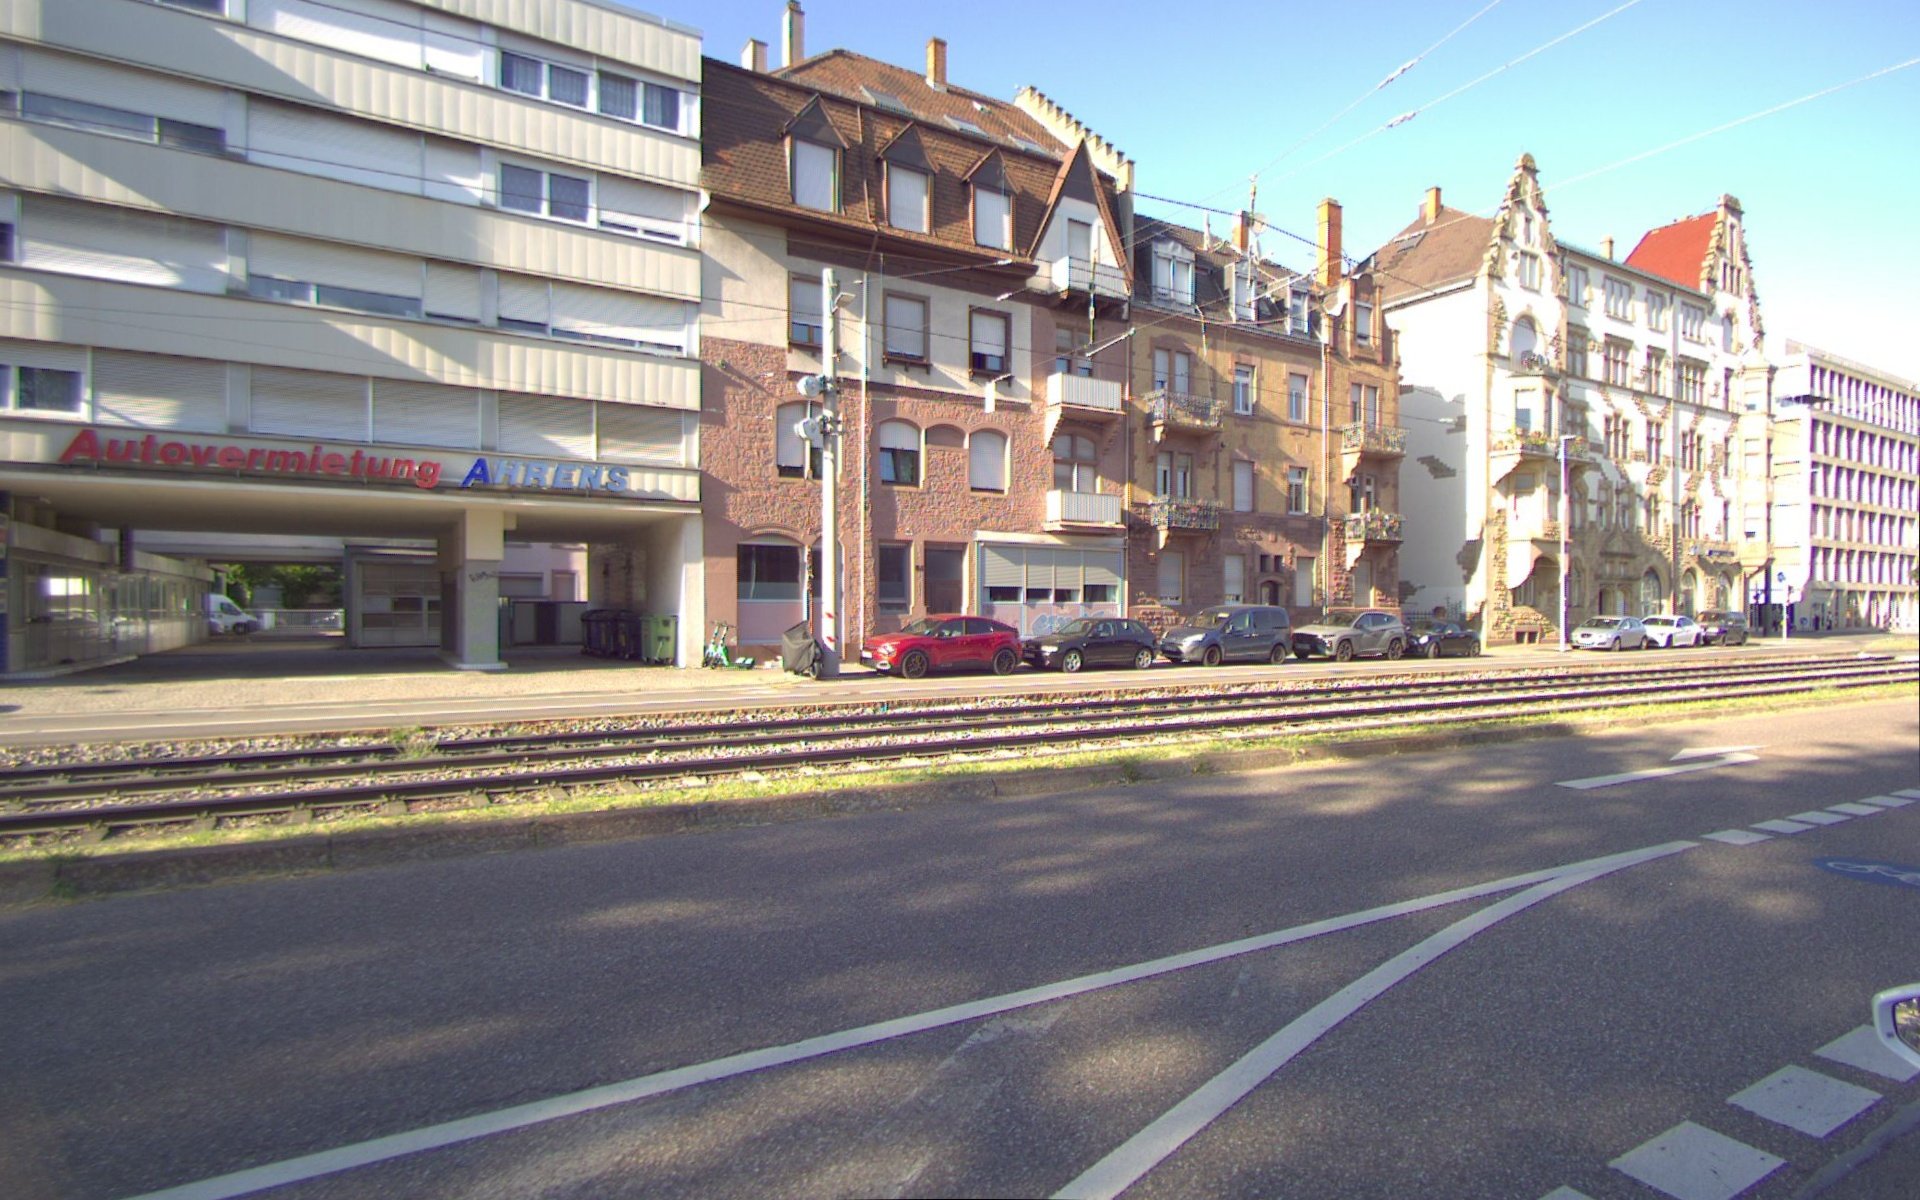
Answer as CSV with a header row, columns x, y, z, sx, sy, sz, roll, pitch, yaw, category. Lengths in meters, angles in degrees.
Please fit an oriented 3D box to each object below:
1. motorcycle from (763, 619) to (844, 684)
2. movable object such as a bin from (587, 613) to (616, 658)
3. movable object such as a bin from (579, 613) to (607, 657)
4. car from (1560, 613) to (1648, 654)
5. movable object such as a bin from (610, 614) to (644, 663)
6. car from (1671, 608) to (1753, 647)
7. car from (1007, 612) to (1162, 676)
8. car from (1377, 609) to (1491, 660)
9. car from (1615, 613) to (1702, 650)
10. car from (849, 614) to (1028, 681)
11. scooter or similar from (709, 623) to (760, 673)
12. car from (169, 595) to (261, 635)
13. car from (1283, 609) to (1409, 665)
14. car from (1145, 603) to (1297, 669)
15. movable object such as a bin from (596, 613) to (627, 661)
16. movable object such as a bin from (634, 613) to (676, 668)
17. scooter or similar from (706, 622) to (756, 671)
x,y,z,sx,sy,sz,roll,pitch,yaw,category
-3.726,1.186,23.826,2.046,1.345,0.835,4,3,44,motorcycle
-11.165,1.086,31.247,0.628,1.389,1.260,0,-1,-30,movable object such as a bin
-11.837,1.102,32.402,0.628,1.389,1.260,0,-1,-30,movable object such as a bin
27.427,1.382,42.763,3.961,1.531,1.782,0,3,-36,car
-9.599,1.096,28.951,0.629,1.389,1.259,0,-1,-34,movable object such as a bin
36.548,1.306,48.813,4.139,1.742,1.784,0,3,-33,car
3.446,1.154,27.668,3.954,1.531,1.784,0,3,-31,car
17.159,1.208,36.294,4.151,1.674,1.677,0,3,-32,car
31.901,1.394,45.854,4.139,1.531,1.784,0,3,-33,car
-0.520,1.141,25.442,4.219,1.479,1.784,0,3,-32,car
-5.731,1.219,25.558,1.186,1.222,0.389,1,2,-31,scooter or similar
-45.353,0.931,61.268,4.295,2.322,1.848,1,1,-33,car
12.874,1.173,33.435,4.151,1.674,1.677,0,3,-32,car
7.916,1.049,30.387,4.399,1.777,1.786,1,3,-29,car
-10.413,1.089,30.014,0.628,1.389,1.260,0,-1,-30,movable object such as a bin
-8.055,1.057,26.525,0.629,1.390,1.401,0,0,-37,movable object such as a bin
-5.951,1.196,26.081,1.186,1.222,0.389,1,2,-31,scooter or similar
